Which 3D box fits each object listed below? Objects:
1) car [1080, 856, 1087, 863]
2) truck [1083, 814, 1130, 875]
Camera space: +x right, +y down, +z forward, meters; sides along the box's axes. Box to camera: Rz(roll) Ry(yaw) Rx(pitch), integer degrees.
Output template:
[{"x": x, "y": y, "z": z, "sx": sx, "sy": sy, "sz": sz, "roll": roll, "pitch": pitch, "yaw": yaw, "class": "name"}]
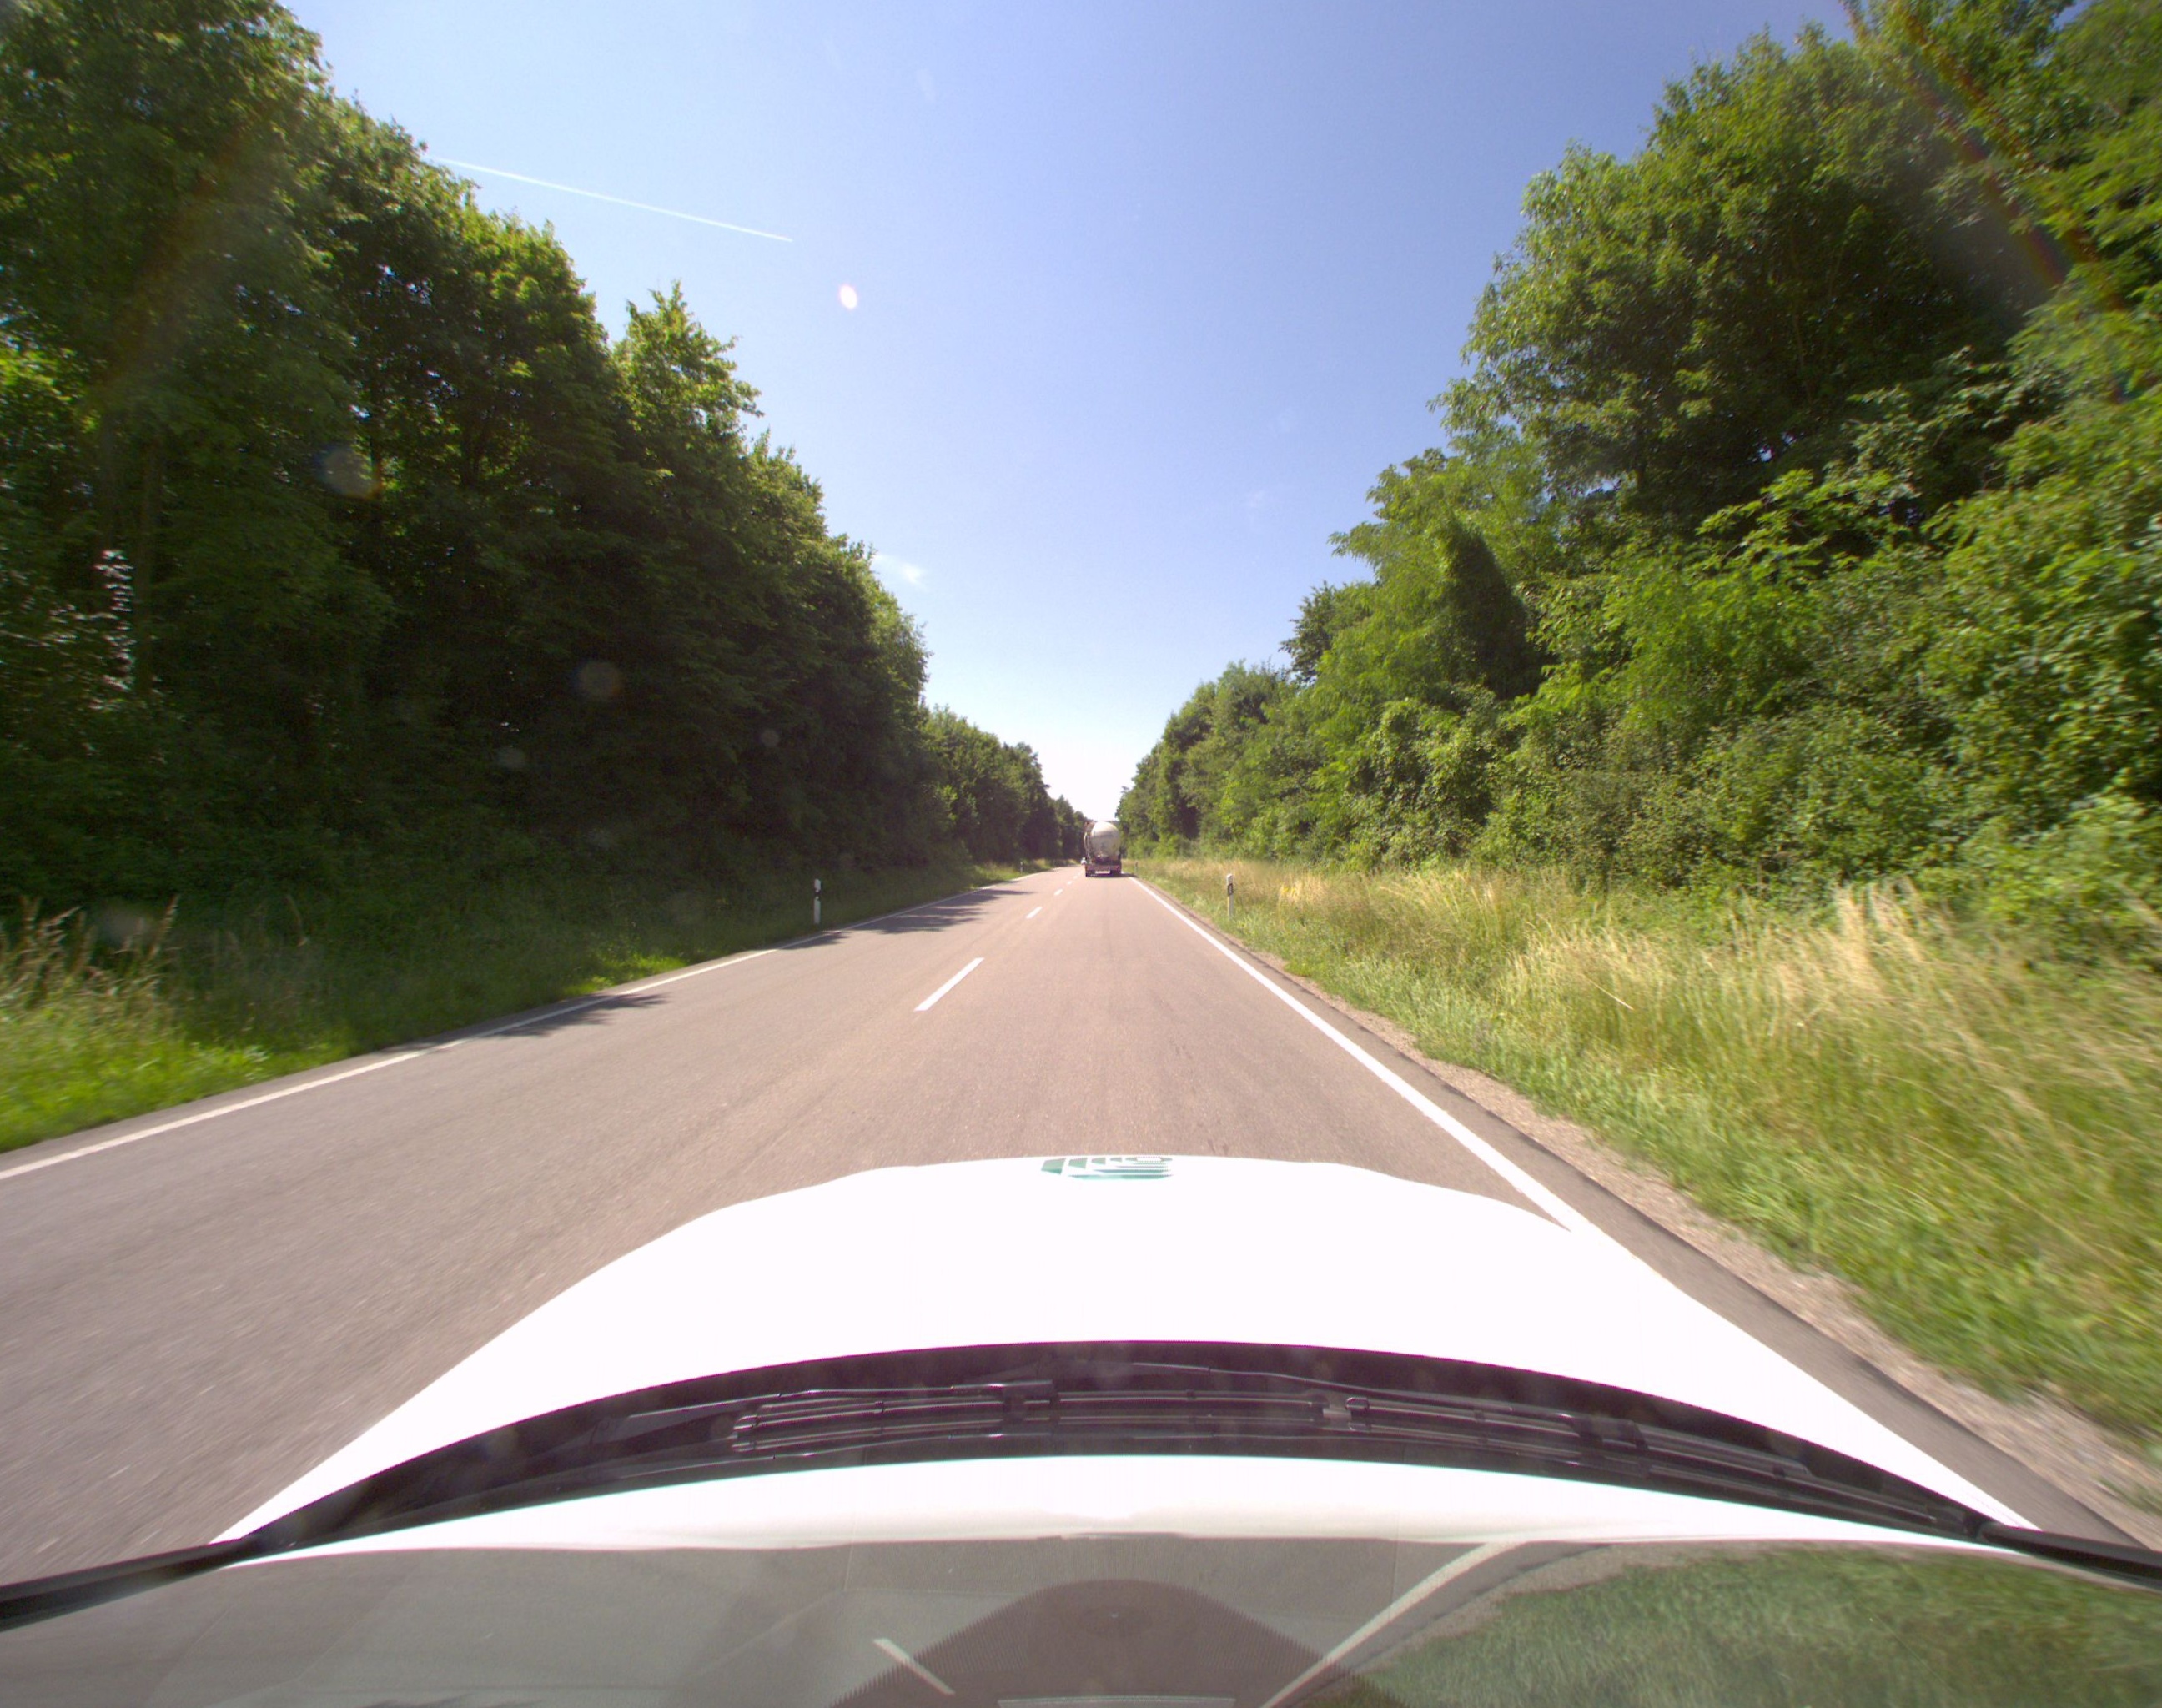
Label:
[{"x": 0.540, "y": 1.309, "z": 188.066, "sx": 1.507, "sy": 1.592, "sz": 3.794, "roll": -1, "pitch": 0, "yaw": 2, "class": "car"}, {"x": 1.714, "y": -0.542, "z": 62.288, "sx": 3.039, "sy": 3.998, "sz": 15.634, "roll": 2, "pitch": -1, "yaw": 0, "class": "truck"}]
